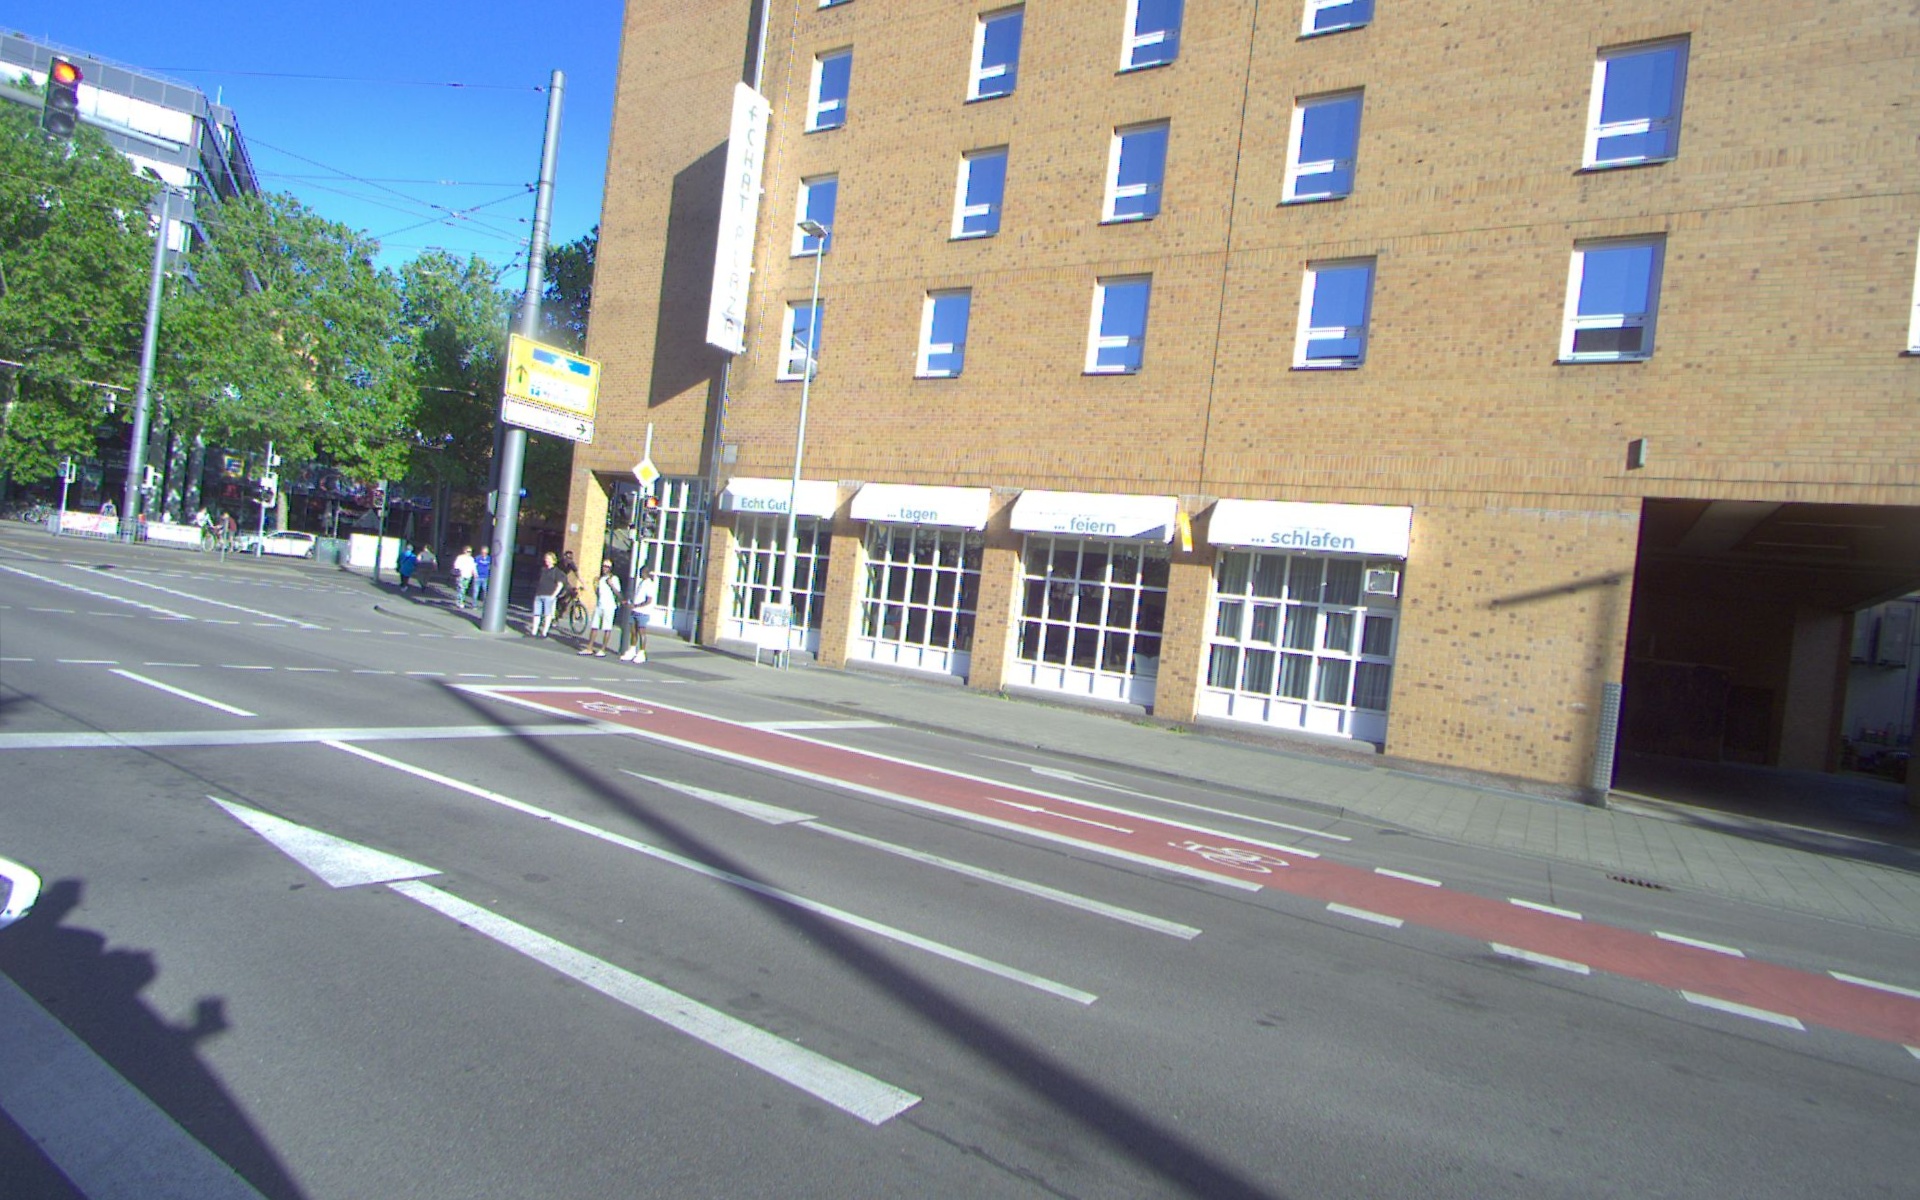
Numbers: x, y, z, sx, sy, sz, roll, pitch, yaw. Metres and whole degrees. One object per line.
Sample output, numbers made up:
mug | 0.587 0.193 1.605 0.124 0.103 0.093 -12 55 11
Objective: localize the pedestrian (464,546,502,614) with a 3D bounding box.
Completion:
pedestrian | -12.781 -0.540 26.941 0.600 1.747 0.596 8 -1 -41

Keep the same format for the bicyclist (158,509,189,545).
bicyclist | -47.611 -4.405 60.909 0.824 1.955 1.224 7 0 42

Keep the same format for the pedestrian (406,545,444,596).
pedestrian | -17.565 -0.959 33.035 0.729 1.557 0.652 7 -1 24

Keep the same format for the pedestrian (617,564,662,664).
pedestrian | -5.961 0.260 18.716 0.570 1.797 0.403 7 2 36

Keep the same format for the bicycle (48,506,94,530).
bicycle | -46.021 -4.248 52.089 1.700 0.998 0.386 7 0 -45

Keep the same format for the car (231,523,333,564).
car | -35.989 -2.975 53.481 1.969 1.503 3.990 6 -2 36

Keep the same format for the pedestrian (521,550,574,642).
pedestrian | -8.538 -0.084 20.842 0.683 1.789 0.573 8 0 -9

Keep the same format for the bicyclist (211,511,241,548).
bicyclist | -36.254 -3.477 49.681 0.627 1.635 0.926 7 0 35

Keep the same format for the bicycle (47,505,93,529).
bicycle | -46.972 -4.388 53.102 1.700 0.998 0.386 7 0 -45

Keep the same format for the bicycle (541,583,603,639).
bicycle | -8.808 0.240 22.812 0.598 1.065 1.857 1 5 -44

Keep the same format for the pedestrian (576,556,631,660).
pedestrian | -6.700 0.149 18.921 0.719 1.857 0.497 5 2 -3

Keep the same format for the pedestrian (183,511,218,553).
pedestrian | -31.771 -2.840 42.099 0.824 1.612 0.771 6 -1 31

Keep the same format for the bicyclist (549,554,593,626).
bicyclist | -8.869 -0.232 22.912 0.576 1.536 0.839 1 6 -44

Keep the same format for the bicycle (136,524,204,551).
bicycle | -47.752 -3.781 60.840 0.824 1.126 3.036 7 -1 42

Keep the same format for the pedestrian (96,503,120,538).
pedestrian | -49.748 -4.650 58.743 0.845 1.873 0.799 10 -2 -44

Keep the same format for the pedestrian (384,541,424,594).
pedestrian | -17.807 -1.042 32.229 0.729 1.557 0.677 7 -1 24

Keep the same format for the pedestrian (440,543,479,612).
pedestrian | -13.129 -0.596 26.381 0.559 1.723 0.651 8 -1 -42

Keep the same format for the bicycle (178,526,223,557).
bicycle | -31.740 -2.455 42.046 1.891 1.064 0.791 6 -2 32

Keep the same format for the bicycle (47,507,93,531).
bicycle | -46.667 -4.255 52.754 1.700 0.998 0.386 7 0 -45

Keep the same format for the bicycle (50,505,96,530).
bicycle | -45.402 -4.220 51.507 1.700 0.998 0.386 7 0 -45

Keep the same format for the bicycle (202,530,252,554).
bicycle | -36.254 -2.847 49.772 0.642 0.921 1.854 7 -1 36
